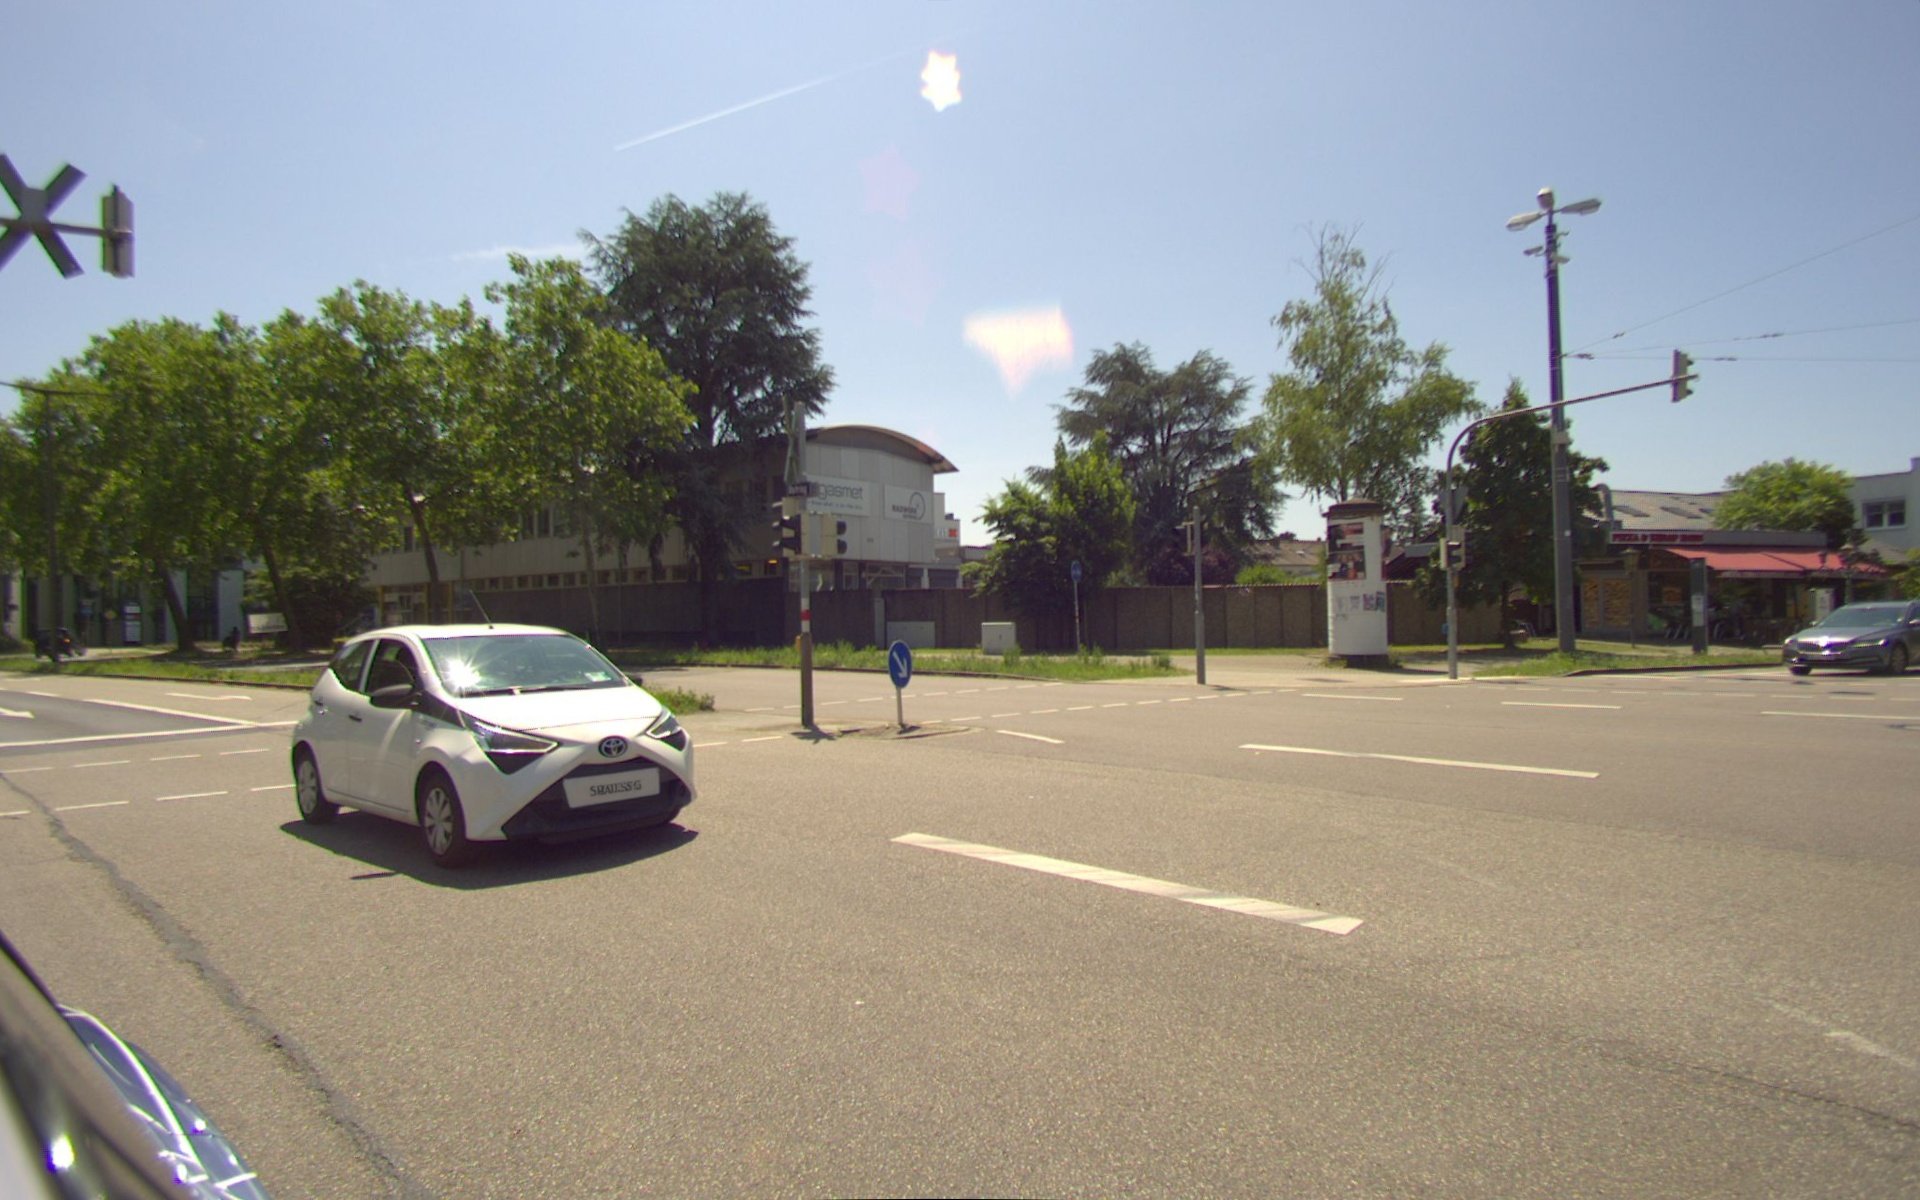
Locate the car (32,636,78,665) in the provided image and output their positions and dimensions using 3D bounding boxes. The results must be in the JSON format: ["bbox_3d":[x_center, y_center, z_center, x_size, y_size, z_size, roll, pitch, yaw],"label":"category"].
[{"bbox_3d":[-55.643,3.092,62.309,1.887,1.692,4.452,0,-2,-39],"label":"car"}]

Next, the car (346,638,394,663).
[{"bbox_3d":[-42.360,3.600,72.694,3.523,1.659,1.798,-2,0,39],"label":"car"}]

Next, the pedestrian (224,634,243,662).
[{"bbox_3d":[-42.400,2.792,59.091,0.788,1.572,0.637,-2,-1,29],"label":"pedestrian"}]

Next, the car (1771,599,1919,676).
[{"bbox_3d":[18.819,0.696,20.329,4.590,1.391,1.894,-1,-2,-22],"label":"car"}]

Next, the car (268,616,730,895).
[{"bbox_3d":[-3.403,0.890,7.178,3.649,1.456,1.602,-2,-2,41],"label":"car"}]

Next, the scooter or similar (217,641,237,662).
[{"bbox_3d":[-43.114,3.017,59.507,0.855,1.172,0.673,-2,-1,29],"label":"scooter or similar"}]
